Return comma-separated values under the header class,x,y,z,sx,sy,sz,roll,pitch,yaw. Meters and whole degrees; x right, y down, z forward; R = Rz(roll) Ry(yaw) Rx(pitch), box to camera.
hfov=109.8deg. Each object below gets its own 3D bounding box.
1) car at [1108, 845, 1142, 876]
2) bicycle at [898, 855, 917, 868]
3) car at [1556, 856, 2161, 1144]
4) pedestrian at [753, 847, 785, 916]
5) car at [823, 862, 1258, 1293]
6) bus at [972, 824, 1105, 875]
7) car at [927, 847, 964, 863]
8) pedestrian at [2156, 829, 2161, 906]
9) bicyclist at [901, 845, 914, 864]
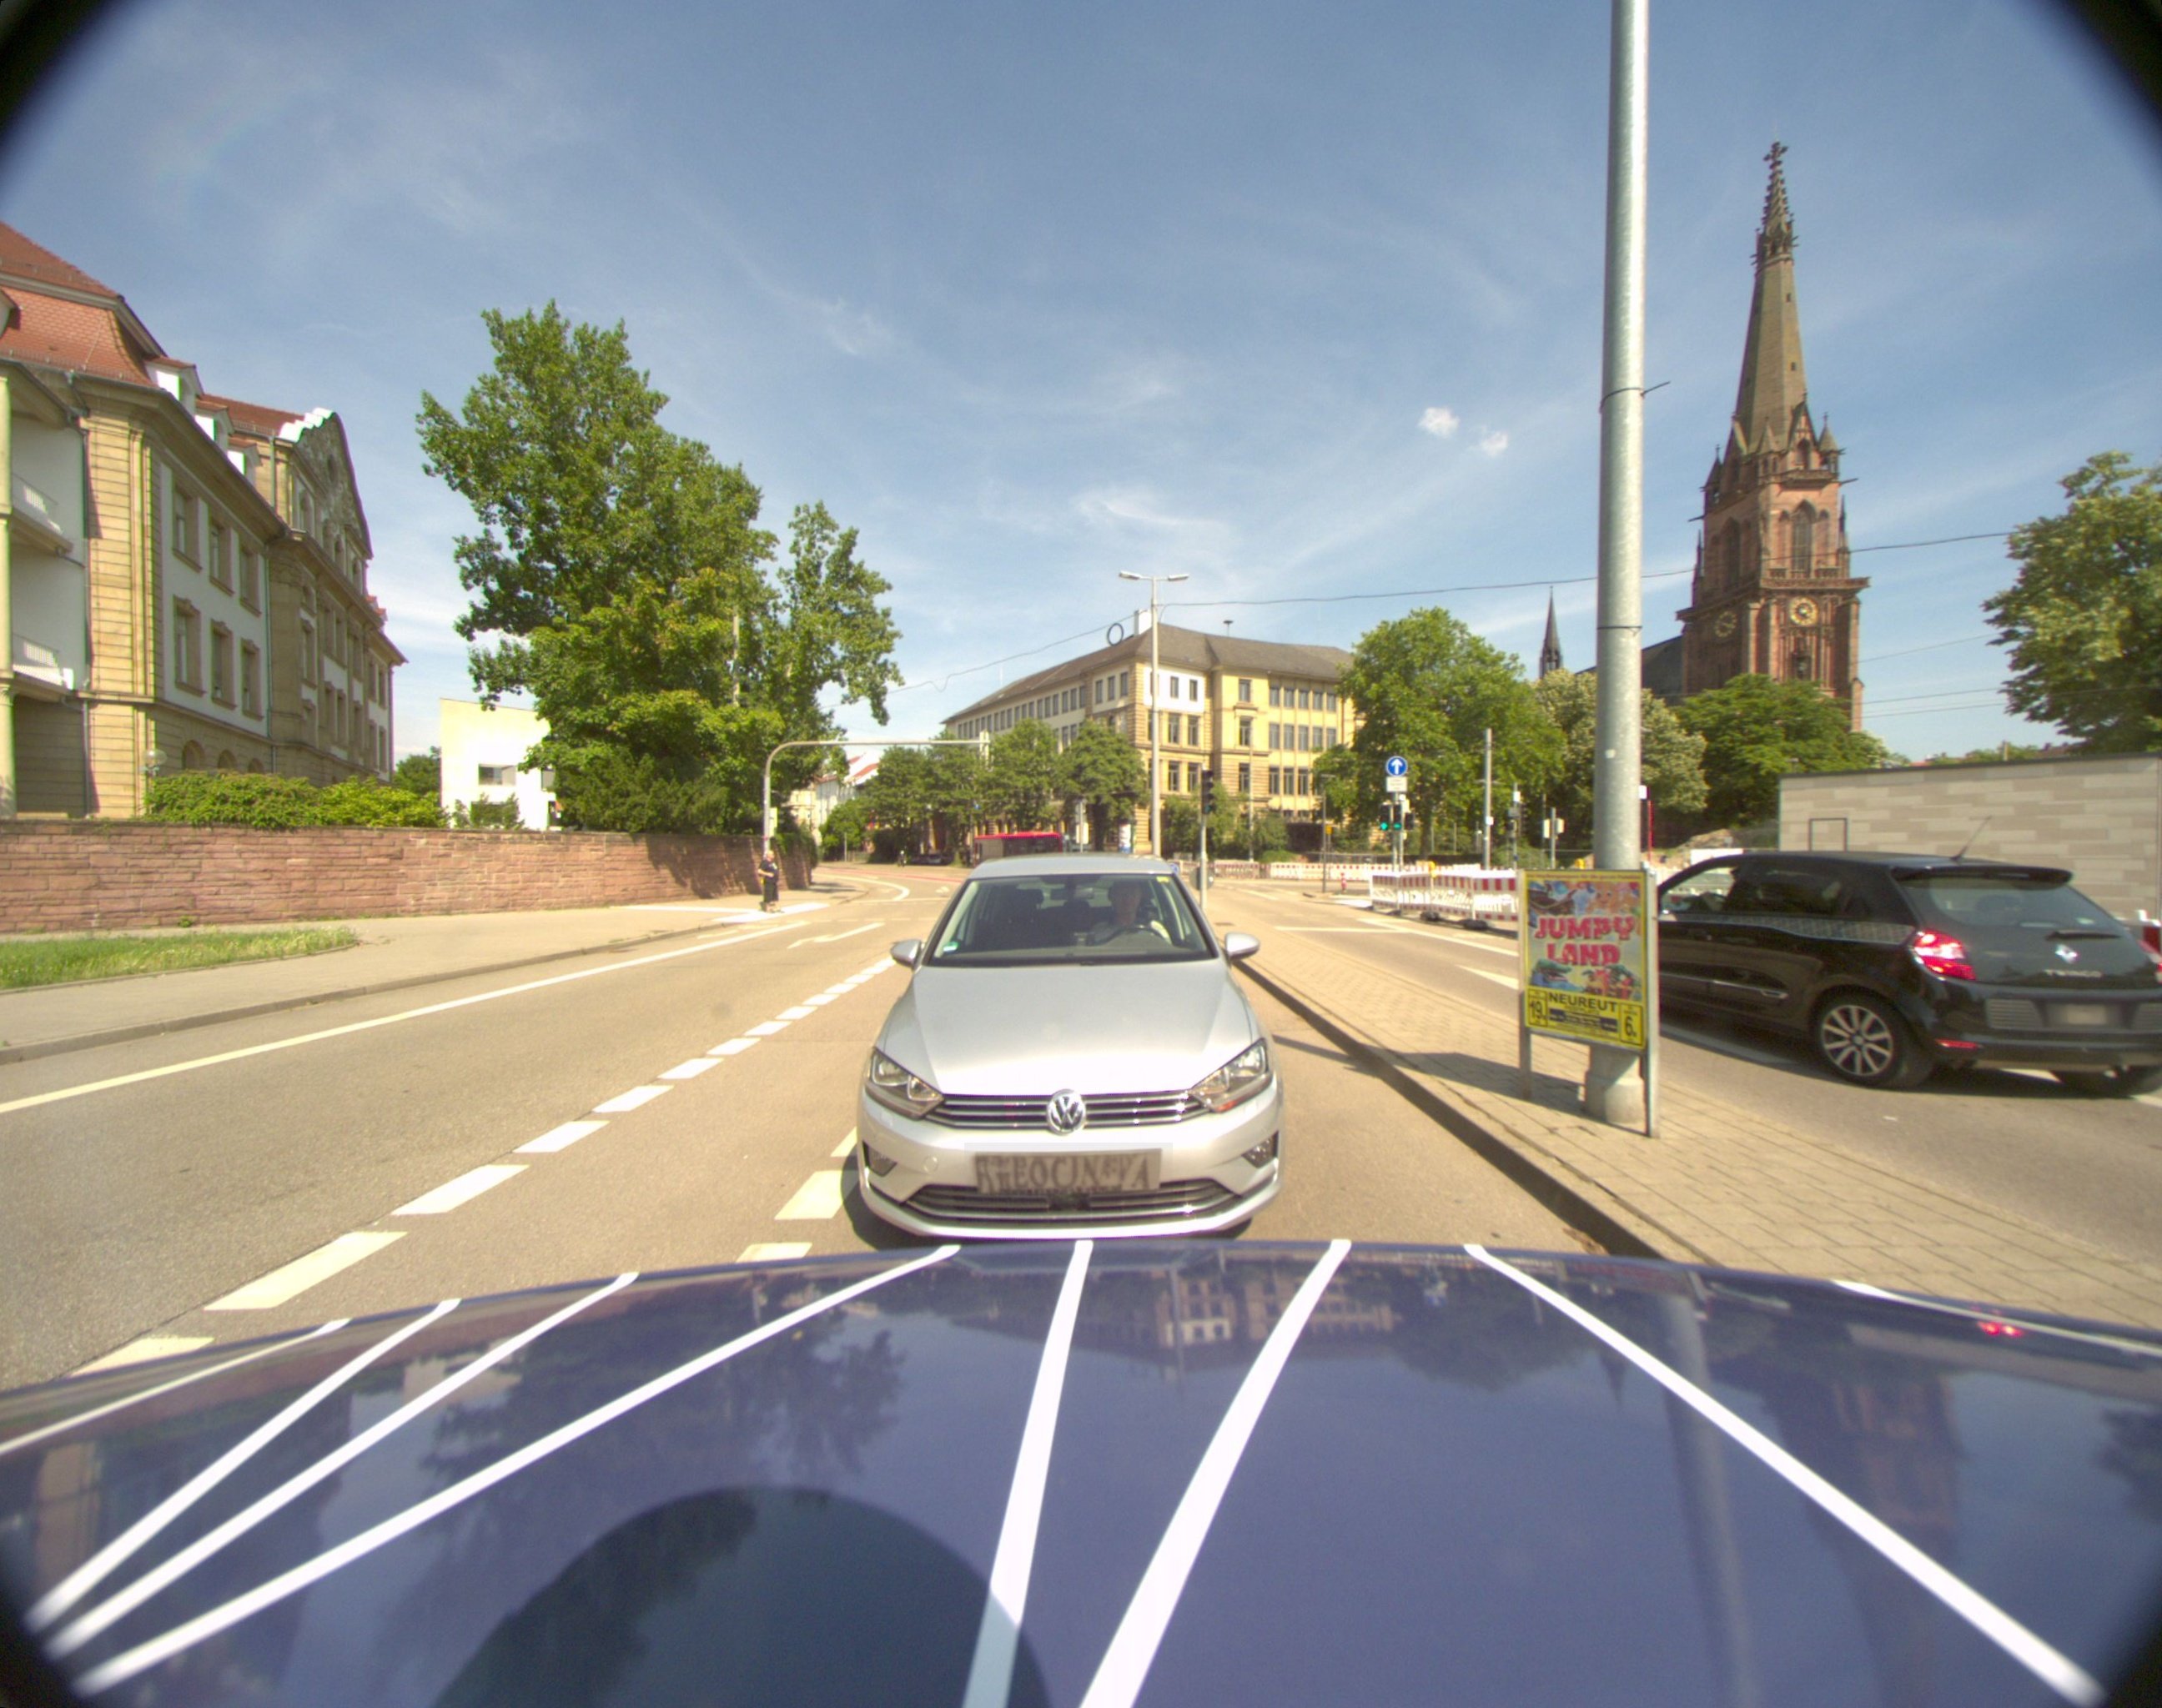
class,x,y,z,sx,sy,sz,roll,pitch,yaw
car,2.919,0.435,51.331,1.999,2.002,3.999,0,0,-1
bicycle,-19.264,0.813,84.221,0.832,1.394,3.461,-3,1,-32
car,5.776,0.829,6.064,1.665,1.565,3.632,1,0,0
pedestrian,-9.206,0.786,22.425,0.796,2.002,0.615,0,1,-14
car,-0.066,0.883,5.024,1.687,1.577,4.152,0,0,3
bus,-3.320,-0.251,52.731,3.138,3.076,12.381,-3,1,-35
car,-16.707,0.090,93.755,4.006,1.653,1.994,-3,4,-35
pedestrian,28.254,0.352,19.316,0.820,2.002,0.686,1,1,3
bicyclist,-19.221,0.041,84.157,0.860,2.002,1.233,-3,1,-32
